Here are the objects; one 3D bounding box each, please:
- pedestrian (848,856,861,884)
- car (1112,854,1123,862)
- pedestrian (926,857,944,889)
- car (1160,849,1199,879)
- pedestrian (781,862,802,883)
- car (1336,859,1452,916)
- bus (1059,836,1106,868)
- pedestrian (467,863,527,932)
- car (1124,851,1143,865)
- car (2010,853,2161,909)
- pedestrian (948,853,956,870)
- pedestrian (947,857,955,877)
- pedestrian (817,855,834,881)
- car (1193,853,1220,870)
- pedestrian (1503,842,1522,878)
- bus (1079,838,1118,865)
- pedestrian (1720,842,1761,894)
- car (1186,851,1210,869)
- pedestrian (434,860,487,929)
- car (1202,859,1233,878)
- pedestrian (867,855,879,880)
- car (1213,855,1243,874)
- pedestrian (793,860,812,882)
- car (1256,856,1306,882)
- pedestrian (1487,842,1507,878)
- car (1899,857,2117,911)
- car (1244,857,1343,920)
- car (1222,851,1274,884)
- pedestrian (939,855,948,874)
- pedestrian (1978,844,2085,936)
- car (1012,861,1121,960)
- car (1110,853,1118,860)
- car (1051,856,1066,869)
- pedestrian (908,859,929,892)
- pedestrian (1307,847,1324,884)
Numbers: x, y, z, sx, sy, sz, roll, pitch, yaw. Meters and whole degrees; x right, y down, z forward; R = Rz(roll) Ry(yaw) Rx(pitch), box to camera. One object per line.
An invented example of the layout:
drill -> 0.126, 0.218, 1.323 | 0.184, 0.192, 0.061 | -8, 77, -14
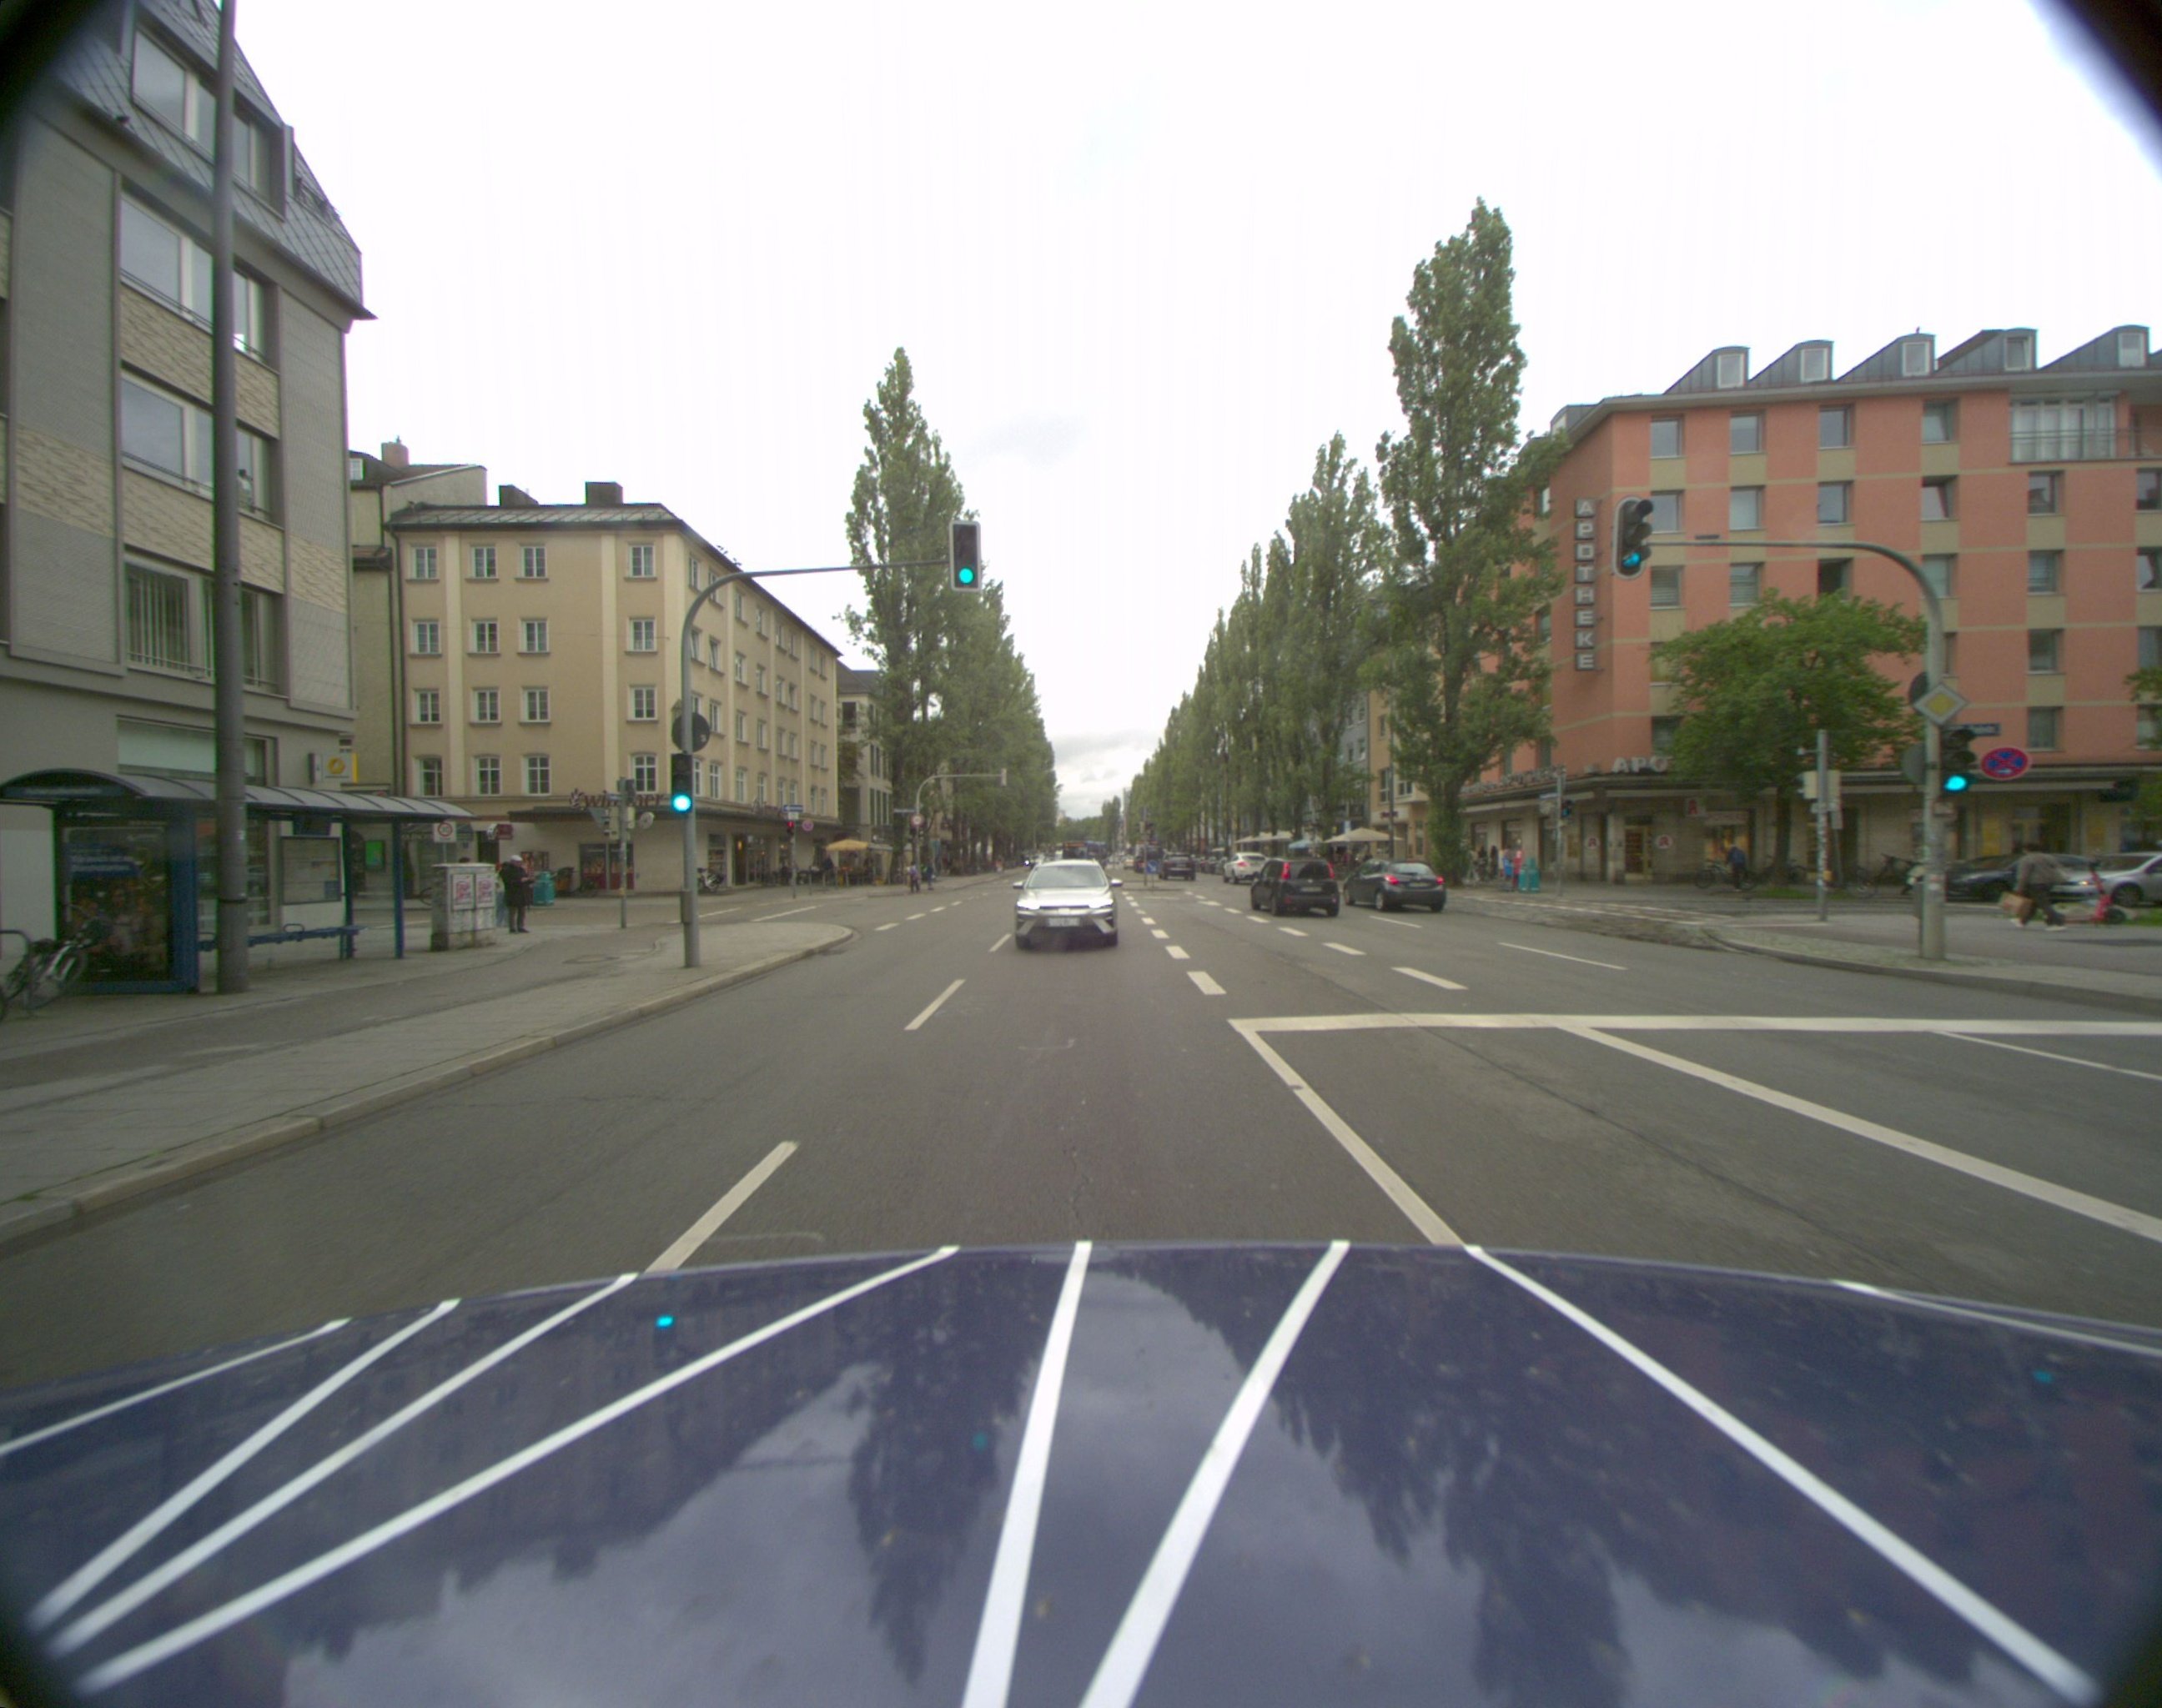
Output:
pedestrian -> -13.357, 0.952, 44.888 | 0.541, 1.664, 0.537 | -1, 1, 7
car -> 7.193, 0.788, 149.809 | 1.848, 1.626, 4.575 | 1, 0, 1
pedestrian -> -7.384, 0.935, 38.458 | 0.767, 1.600, 0.864 | -1, 1, -4
car -> 5.964, 0.569, 46.444 | 1.889, 1.736, 4.439 | -1, 0, 1
pedestrian -> -16.366, 1.037, 42.947 | 0.870, 1.192, 0.699 | -1, 1, 1
car -> 8.852, 0.889, 21.835 | 1.646, 1.431, 3.996 | 0, 0, -1
bus -> 0.356, -0.209, 77.313 | 2.804, 2.886, 12.866 | -1, 0, 9
pedestrian -> -15.365, 1.118, 20.019 | 0.752, 1.747, 1.017 | -1, 0, 2
car -> 5.997, 0.416, 86.997 | 1.848, 1.493, 4.985 | 0, 0, 0
car -> 28.097, 0.695, 20.302 | 3.994, 1.412, 1.783 | -1, 0, 9
pedestrian -> -13.335, 0.743, 78.700 | 0.658, 1.774, 0.674 | -1, 1, 1
pedestrian -> -12.887, 1.288, 75.481 | 0.658, 1.959, 0.722 | 0, 0, 3
pedestrian -> -16.045, 0.869, 47.768 | 0.777, 1.580, 0.699 | -1, 1, 1
car -> 11.429, 0.635, 69.405 | 1.681, 1.458, 4.369 | 0, 1, 0
pedestrian -> 20.375, 0.260, 35.886 | 0.588, 1.681, 0.514 | -1, 1, 0
bus -> 2.257, -0.273, 89.431 | 2.804, 2.886, 12.866 | -1, 0, 9
pedestrian -> 22.494, 0.473, 25.915 | 0.780, 1.756, 0.692 | -1, 1, 0
car -> 11.618, 0.608, 75.780 | 1.784, 1.671, 4.586 | 0, 1, 1
pedestrian -> -16.179, 1.034, 19.835 | 0.752, 1.748, 0.711 | -1, 1, 1
car -> 11.500, 1.188, 64.171 | 1.708, 1.404, 4.432 | 0, 1, -2
pedestrian -> -13.955, 0.917, 51.002 | 0.541, 1.664, 0.537 | -1, 1, 7
car -> 11.429, 0.819, 59.249 | 1.497, 1.373, 4.186 | 0, 1, 0
pedestrian -> -16.410, 1.018, 44.785 | 0.777, 1.257, 0.699 | -1, 1, 1
car -> 12.019, 0.868, 45.955 | 1.707, 1.430, 4.589 | 0, 1, -1
pedestrian -> 19.654, 0.284, 35.879 | 0.631, 1.679, 0.519 | -2, 1, 1
car -> 27.767, 0.870, 22.892 | 3.994, 1.412, 1.783 | -2, 1, 9
car -> 5.561, 0.854, 20.317 | 1.565, 1.487, 3.694 | 0, 0, -1
car -> 8.924, 0.674, 40.984 | 1.842, 1.706, 4.635 | 0, 0, 1
pedestrian -> -13.602, 1.007, 75.381 | 0.658, 1.840, 0.906 | -1, 1, 2
pedestrian -> 17.177, 0.630, 13.756 | 0.780, 1.609, 0.934 | -1, 1, 0
car -> -0.247, 0.935, 14.389 | 1.758, 1.529, 3.916 | -1, 0, 0
car -> 7.472, 0.577, 171.879 | 1.848, 1.626, 4.575 | 1, 0, 1
car -> -2.825, 1.062, 97.751 | 1.758, 1.529, 3.916 | -2, 0, 0
pedestrian -> -7.766, 1.004, 36.265 | 0.767, 1.509, 0.620 | 2, 4, 44
pedestrian -> 11.773, 0.560, 38.132 | 0.736, 1.785, 0.994 | -2, 1, 18
